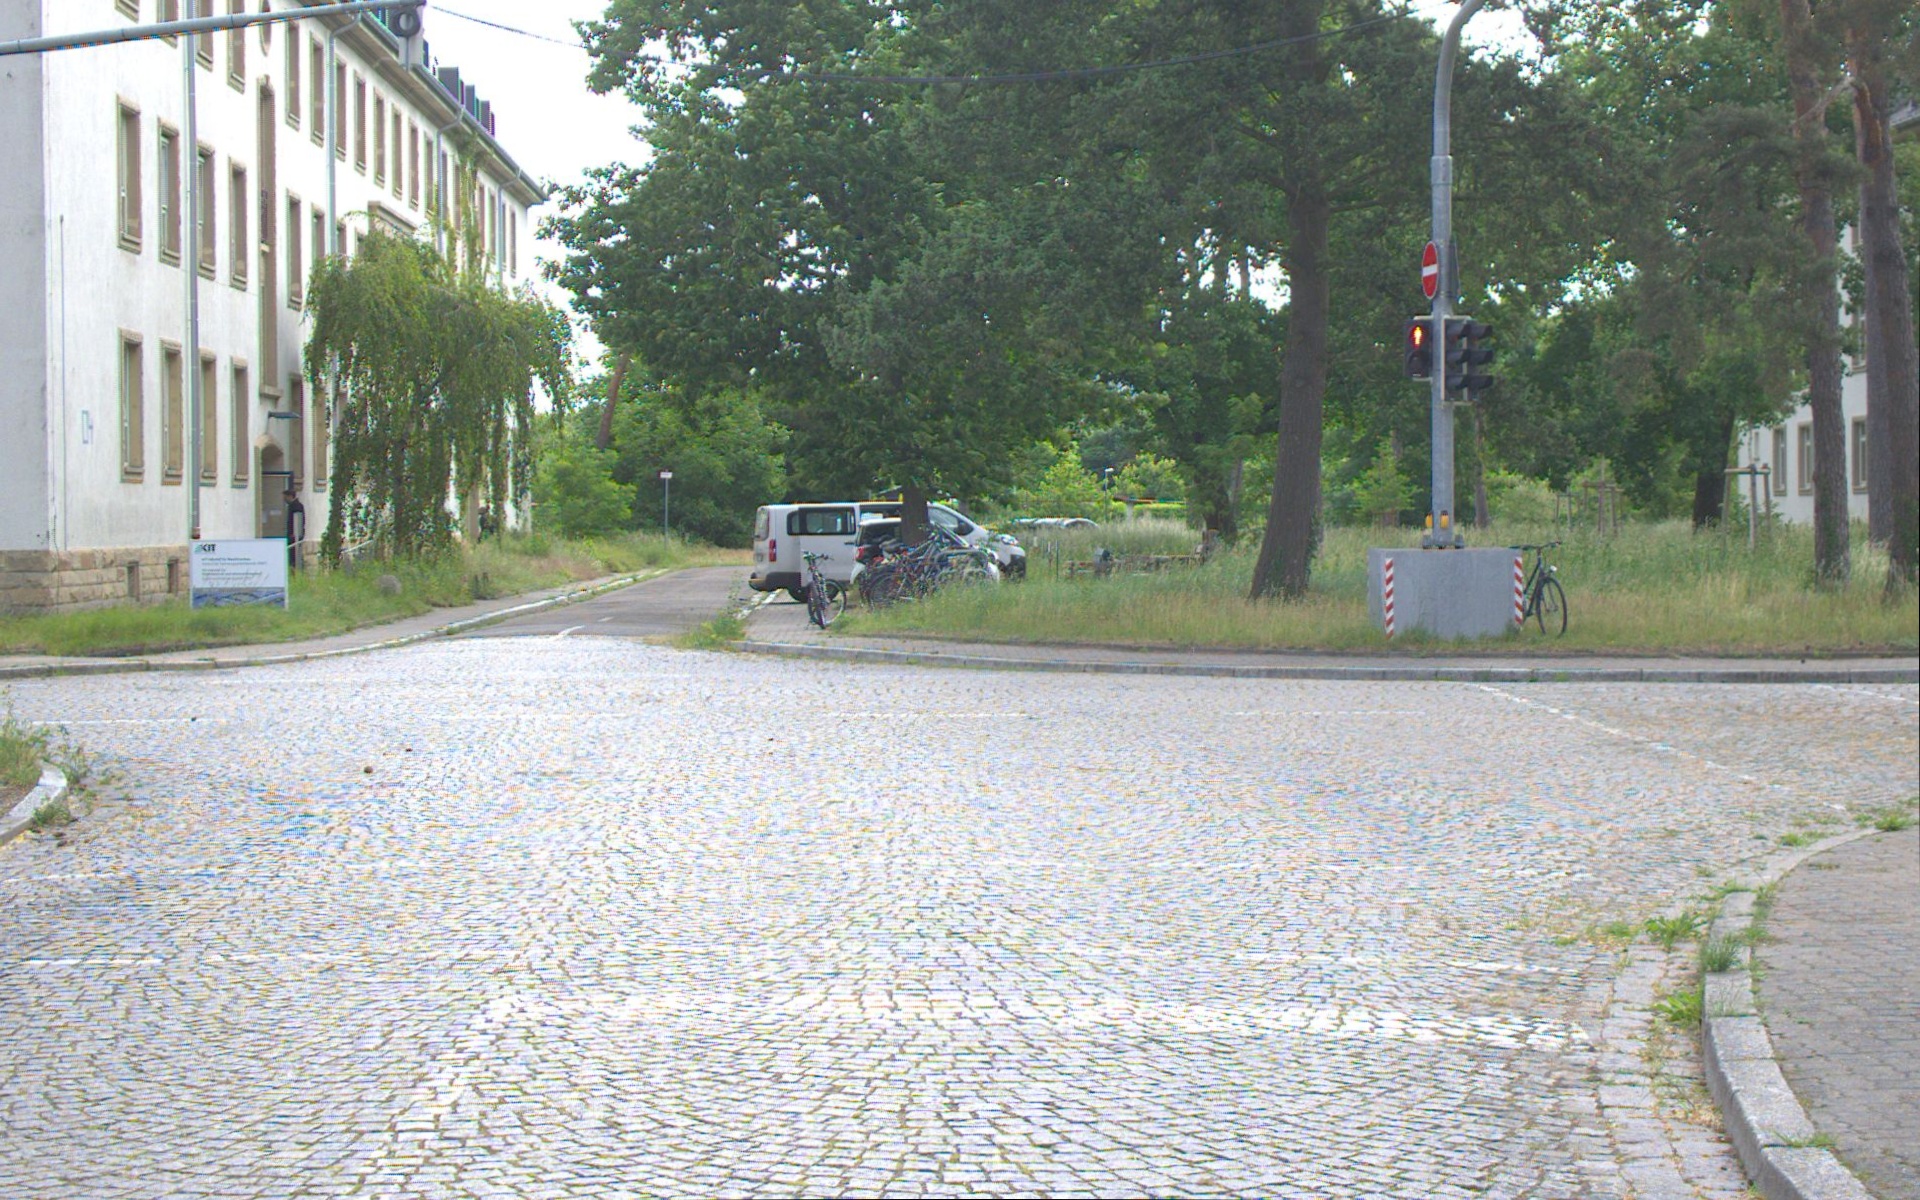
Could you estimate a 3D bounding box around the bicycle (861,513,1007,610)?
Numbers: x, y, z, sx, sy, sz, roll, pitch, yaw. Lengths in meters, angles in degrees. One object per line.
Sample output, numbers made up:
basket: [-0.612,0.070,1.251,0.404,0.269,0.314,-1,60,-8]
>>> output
bicycle: [-0.370,-0.558,49.080,2.070,1.373,0.620,0,1,0]

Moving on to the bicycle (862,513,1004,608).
bicycle: [-0.399,-0.583,50.502,2.070,1.373,0.620,0,1,0]

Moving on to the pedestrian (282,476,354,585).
pedestrian: [-11.897,-1.296,63.762,1.087,2.007,1.021,0,1,4]

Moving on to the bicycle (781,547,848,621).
bicycle: [-1.964,-0.227,46.600,0.618,0.960,2.076,0,1,6]

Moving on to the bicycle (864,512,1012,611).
bicycle: [-0.310,-0.545,48.410,2.070,1.373,0.620,0,1,0]

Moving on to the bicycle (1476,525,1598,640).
bicycle: [6.065,-0.198,36.218,0.908,1.173,1.874,0,1,-2]

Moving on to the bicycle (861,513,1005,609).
bicycle: [-0.388,-0.569,49.705,2.070,1.373,0.620,0,1,0]

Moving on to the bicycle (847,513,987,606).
bicycle: [-0.644,-0.605,51.297,2.070,1.373,0.620,0,1,0]

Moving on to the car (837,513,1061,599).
car: [-0.222,-0.822,62.932,3.931,1.539,2.000,0,1,-6]

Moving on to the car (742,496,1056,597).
car: [-1.196,-1.048,66.287,5.690,1.904,2.231,0,1,-13]

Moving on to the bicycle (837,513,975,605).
bicycle: [-0.813,-0.621,52.033,2.070,1.373,0.620,0,1,0]

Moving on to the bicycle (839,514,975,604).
bicycle: [-0.817,-0.633,52.781,2.070,1.373,0.620,0,1,0]
